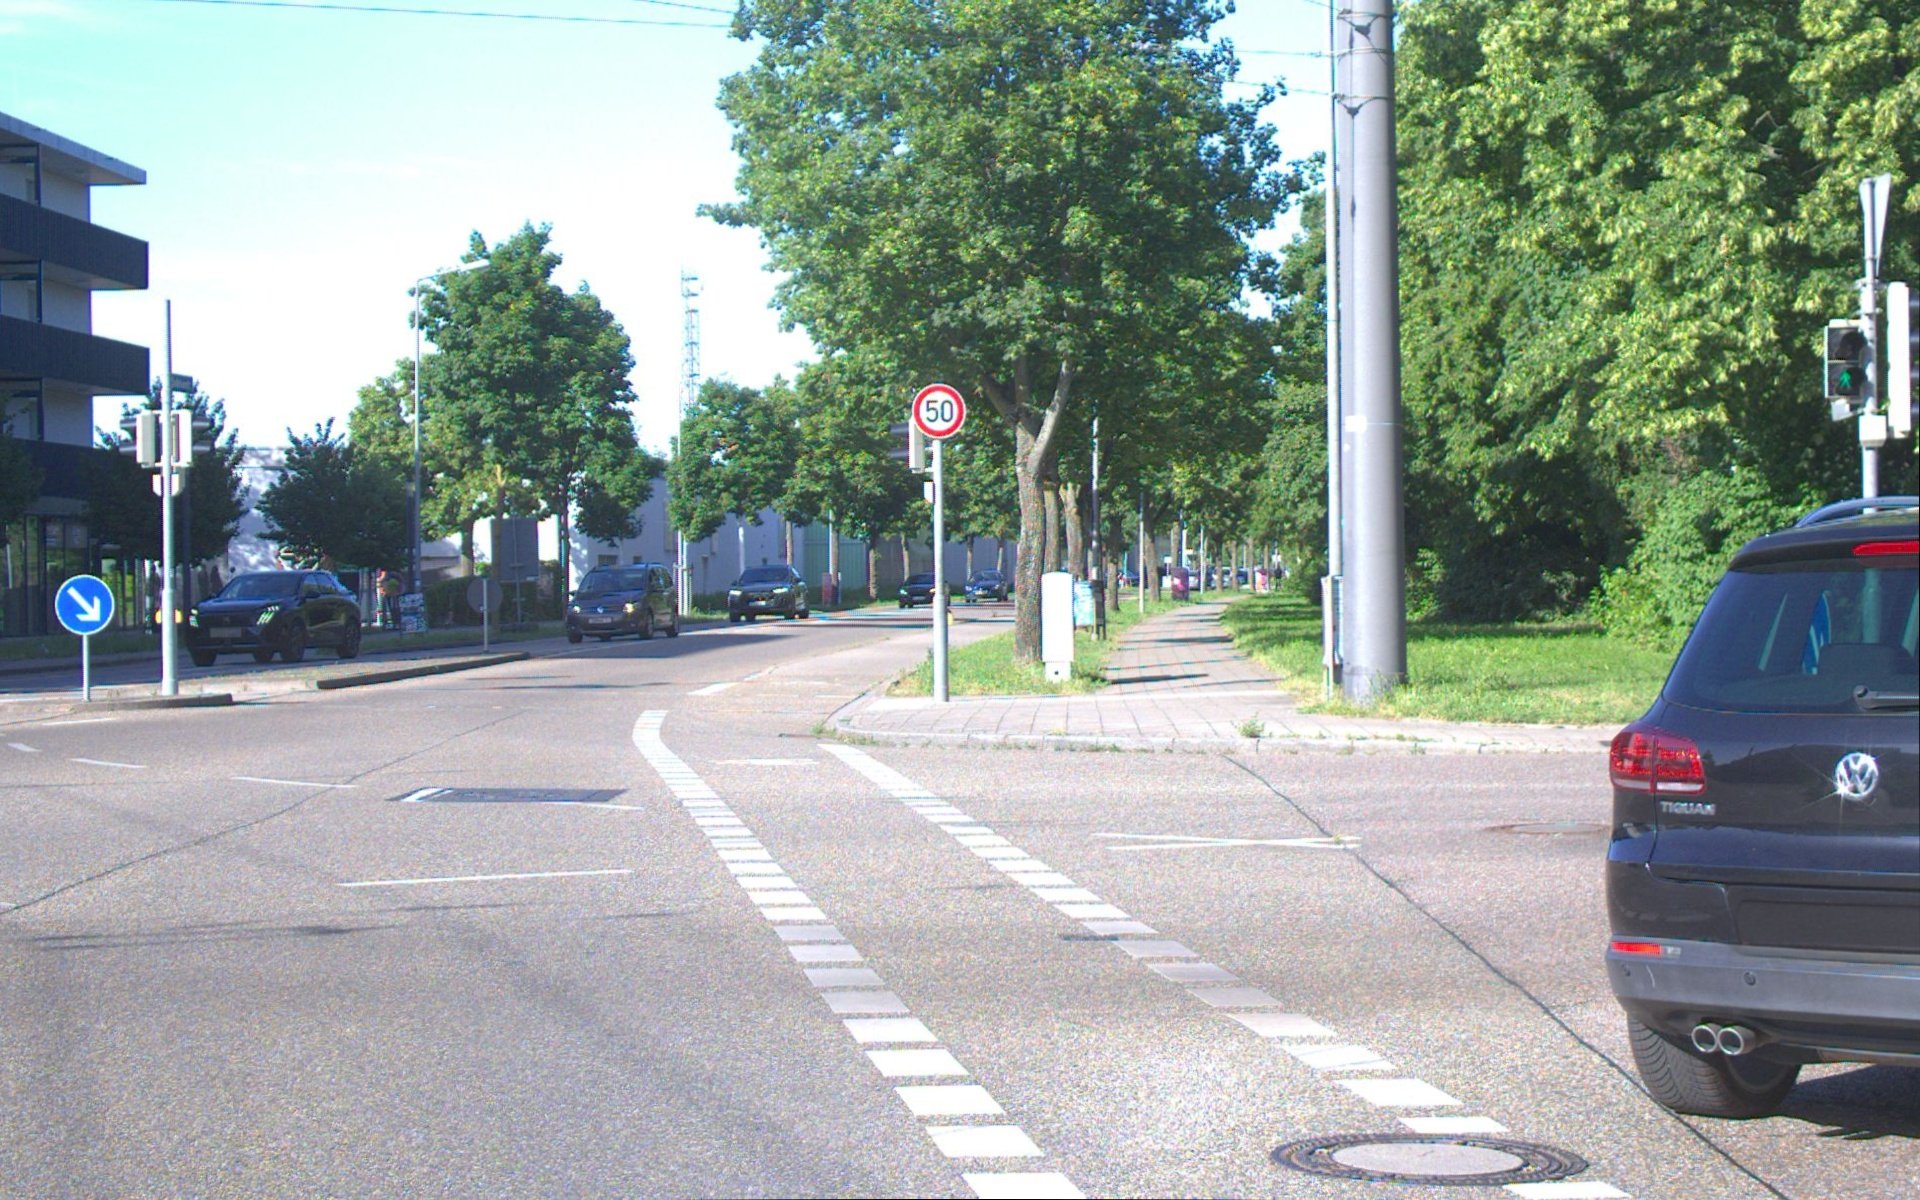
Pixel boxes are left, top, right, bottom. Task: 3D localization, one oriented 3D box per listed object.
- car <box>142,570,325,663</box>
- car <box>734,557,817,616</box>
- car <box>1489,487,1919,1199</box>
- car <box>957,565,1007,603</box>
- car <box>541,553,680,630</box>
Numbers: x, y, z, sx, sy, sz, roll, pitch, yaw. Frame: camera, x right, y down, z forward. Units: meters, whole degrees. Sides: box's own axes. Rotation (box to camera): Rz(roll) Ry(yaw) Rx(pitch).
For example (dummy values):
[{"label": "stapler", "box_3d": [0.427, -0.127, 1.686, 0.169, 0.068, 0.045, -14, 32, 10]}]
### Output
[{"label": "car", "box_3d": [-12.755, 0.256, 60.632, 1.967, 1.529, 4.740, -1, 1, 3]}, {"label": "car", "box_3d": [-5.665, -0.428, 106.035, 1.994, 1.731, 5.199, -1, 1, 3]}, {"label": "car", "box_3d": [3.517, 0.541, 9.774, 1.934, 1.649, 4.504, 1, 1, 39]}, {"label": "car", "box_3d": [1.026, -0.749, 160.473, 1.895, 1.752, 3.999, 1, 0, 6]}, {"label": "car", "box_3d": [-7.461, -0.205, 73.737, 1.994, 1.566, 3.999, -1, 1, 9]}]
